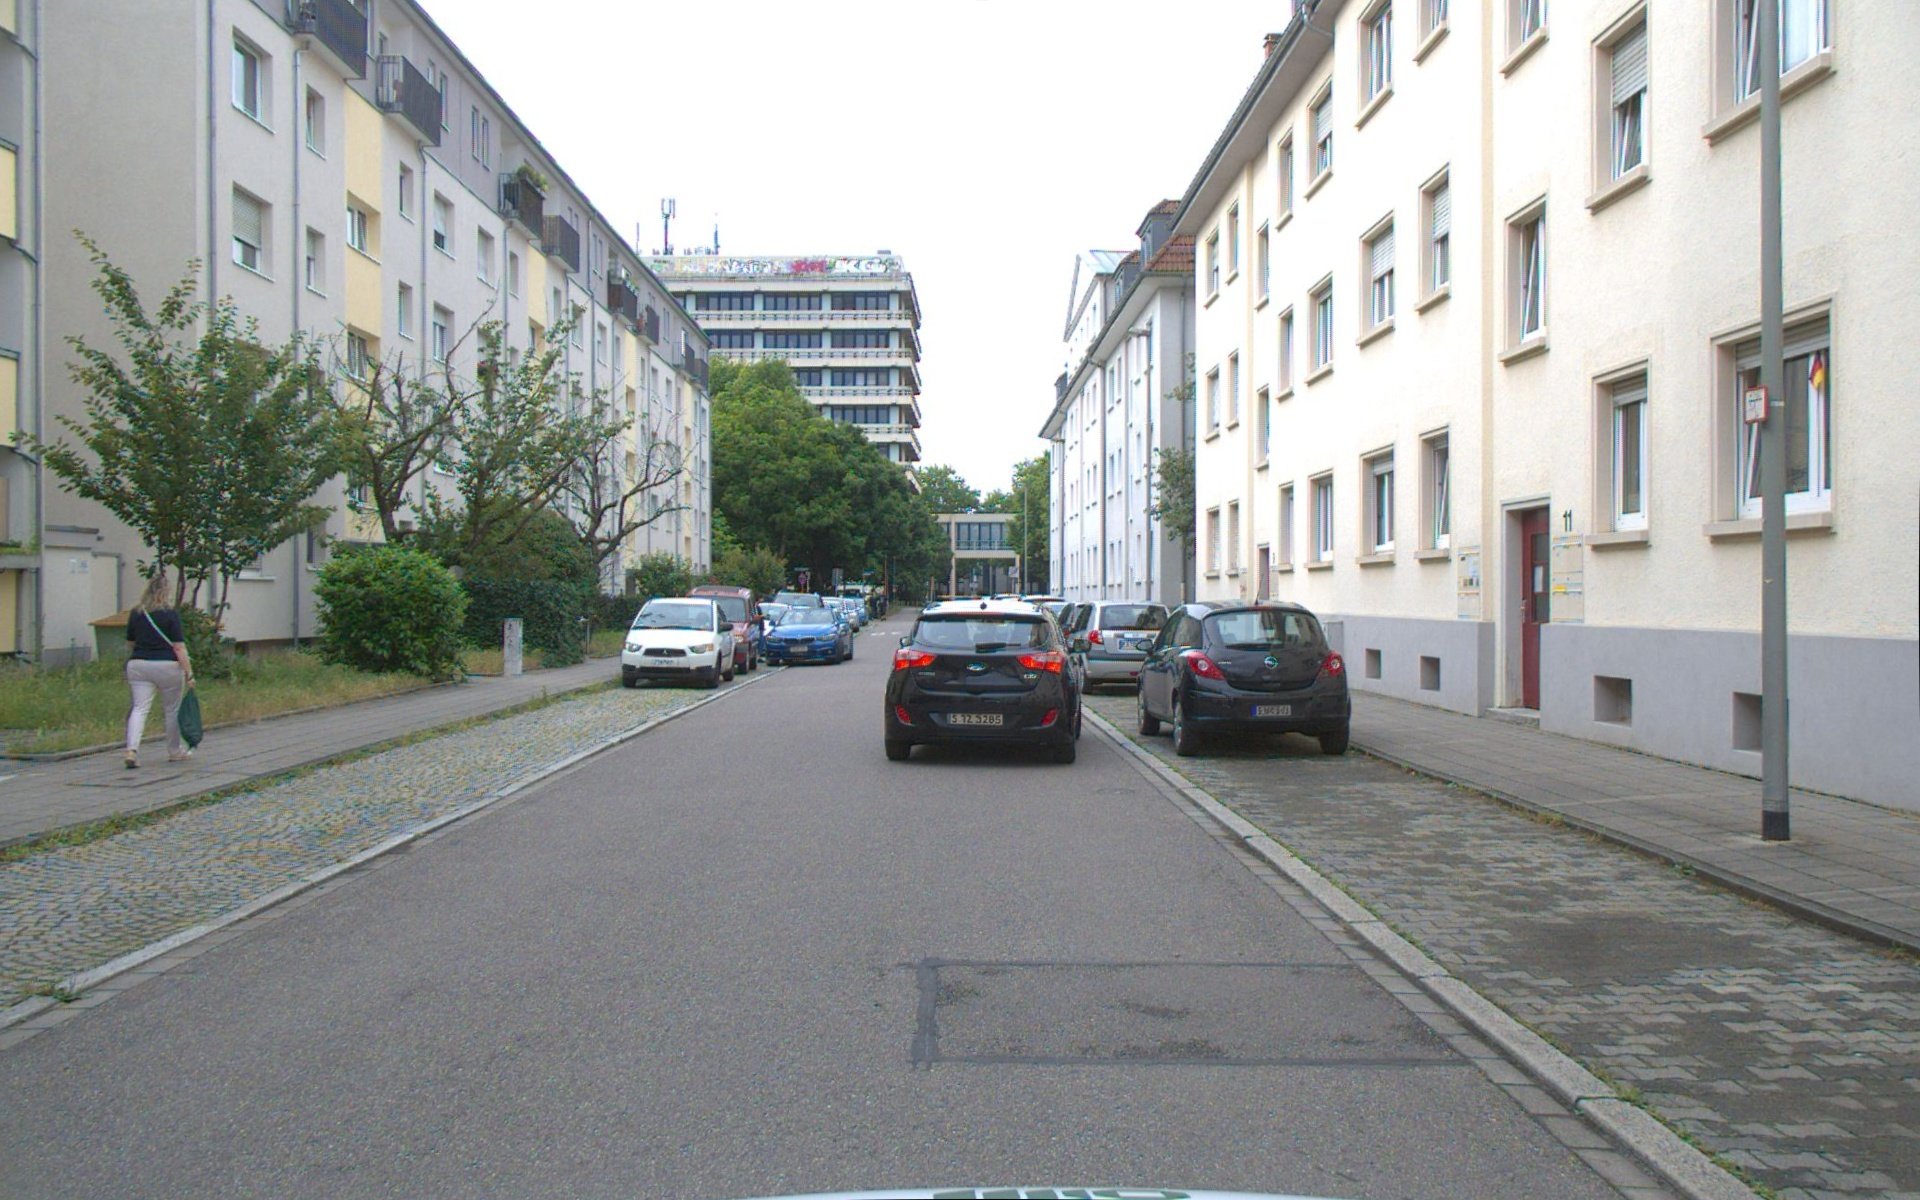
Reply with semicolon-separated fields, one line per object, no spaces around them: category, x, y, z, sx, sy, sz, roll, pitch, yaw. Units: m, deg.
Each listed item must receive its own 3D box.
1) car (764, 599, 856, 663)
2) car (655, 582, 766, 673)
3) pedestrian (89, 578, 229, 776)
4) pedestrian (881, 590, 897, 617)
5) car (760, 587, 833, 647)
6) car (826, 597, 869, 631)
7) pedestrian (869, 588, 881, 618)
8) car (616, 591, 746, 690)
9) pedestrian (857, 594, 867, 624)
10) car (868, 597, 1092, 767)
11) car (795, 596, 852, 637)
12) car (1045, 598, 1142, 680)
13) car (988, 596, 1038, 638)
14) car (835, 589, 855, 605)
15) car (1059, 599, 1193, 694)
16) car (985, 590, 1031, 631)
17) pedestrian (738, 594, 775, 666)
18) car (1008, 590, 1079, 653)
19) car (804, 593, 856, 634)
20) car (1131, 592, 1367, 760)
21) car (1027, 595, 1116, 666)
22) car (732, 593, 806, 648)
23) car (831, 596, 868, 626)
car;-3.633;0.724;40.784;1.807;1.476;4.501;0;0;0
car;-5.275;0.553;35.440;1.917;1.801;4.359;1;0;-3
pedestrian;-6.844;0.636;14.172;0.784;1.638;0.946;0;0;-5
pedestrian;-4.453;0.222;104.359;0.952;1.683;0.980;0;0;0
car;-5.153;0.516;52.648;1.856;1.770;4.474;2;0;-1
car;-5.312;0.634;78.613;1.954;1.568;3.998;1;0;-3
pedestrian;-5.401;0.167;104.562;0.699;1.863;0.797;0;0;1
car;-4.913;0.674;29.627;1.685;1.597;3.869;2;0;-1
pedestrian;-6.207;0.563;104.424;0.592;1.863;0.675;0;0;1
car;0.338;0.712;16.448;1.863;1.458;4.235;-1;0;6
car;-5.252;0.608;64.116;1.856;1.477;4.520;2;0;-1
car;2.602;0.728;32.916;1.570;1.502;3.868;1;0;-1
car;1.988;0.615;63.159;1.783;1.529;4.091;0;0;0
car;-10.333;-0.272;149.044;1.632;1.356;3.395;0;1;-1
car;2.699;0.717;27.625;1.811;1.475;3.832;0;0;-1
car;1.950;0.411;68.263;1.783;1.631;4.091;0;0;0
pedestrian;-4.998;0.729;40.597;0.729;1.731;0.792;-1;0;-18
car;2.311;0.573;46.702;1.783;1.671;4.091;0;0;0
car;-5.488;0.537;70.282;1.856;1.626;4.520;2;0;-1
car;2.894;0.692;17.389;1.690;1.544;4.060;0;0;-1
car;2.502;0.649;37.950;1.690;1.502;4.504;0;0;-1
car;-5.399;0.546;47.097;1.709;1.490;3.785;0;0;-1
car;-6.076;0.571;90.899;1.954;1.568;3.998;1;0;-3
